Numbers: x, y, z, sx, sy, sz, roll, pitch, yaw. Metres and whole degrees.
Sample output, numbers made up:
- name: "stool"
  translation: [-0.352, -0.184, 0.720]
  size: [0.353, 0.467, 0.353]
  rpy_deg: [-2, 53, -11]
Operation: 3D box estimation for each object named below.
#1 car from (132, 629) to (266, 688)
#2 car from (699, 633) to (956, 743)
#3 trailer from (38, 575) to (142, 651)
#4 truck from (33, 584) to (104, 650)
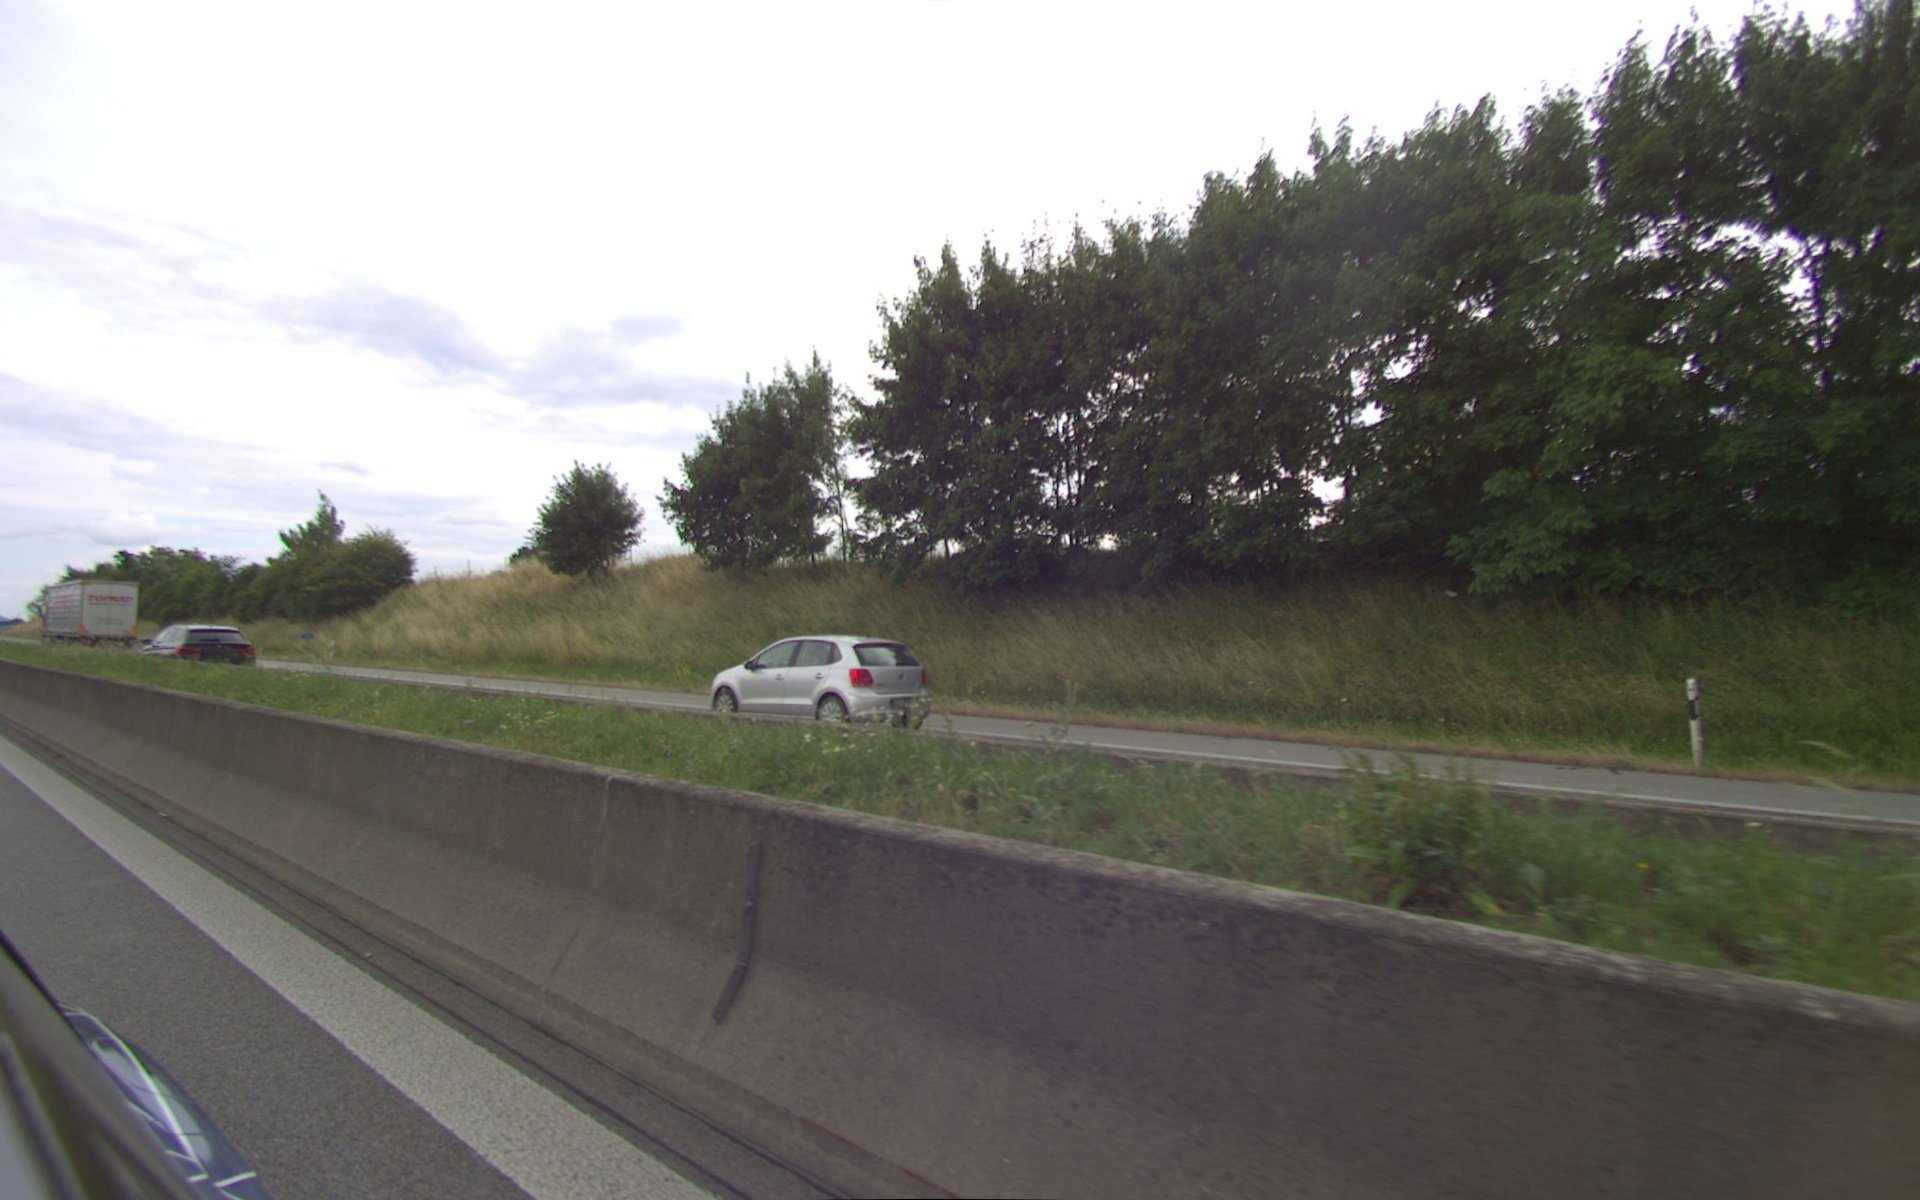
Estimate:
- name: "car"
  translation: [-19.873, 1.490, 26.360]
  size: [4.598, 1.388, 1.829]
  rpy_deg: [-1, -4, 41]
- name: "car"
  translation: [-2.063, 1.232, 15.167]
  size: [3.885, 1.420, 1.629]
  rpy_deg: [-1, -4, 40]
- name: "trailer"
  translation: [-52.463, 0.936, 60.827]
  size: [14.591, 4.120, 2.678]
  rpy_deg: [-2, -4, 42]
- name: "truck"
  translation: [-57.785, 1.168, 65.559]
  size: [5.162, 4.120, 2.678]
  rpy_deg: [-2, -4, 41]
